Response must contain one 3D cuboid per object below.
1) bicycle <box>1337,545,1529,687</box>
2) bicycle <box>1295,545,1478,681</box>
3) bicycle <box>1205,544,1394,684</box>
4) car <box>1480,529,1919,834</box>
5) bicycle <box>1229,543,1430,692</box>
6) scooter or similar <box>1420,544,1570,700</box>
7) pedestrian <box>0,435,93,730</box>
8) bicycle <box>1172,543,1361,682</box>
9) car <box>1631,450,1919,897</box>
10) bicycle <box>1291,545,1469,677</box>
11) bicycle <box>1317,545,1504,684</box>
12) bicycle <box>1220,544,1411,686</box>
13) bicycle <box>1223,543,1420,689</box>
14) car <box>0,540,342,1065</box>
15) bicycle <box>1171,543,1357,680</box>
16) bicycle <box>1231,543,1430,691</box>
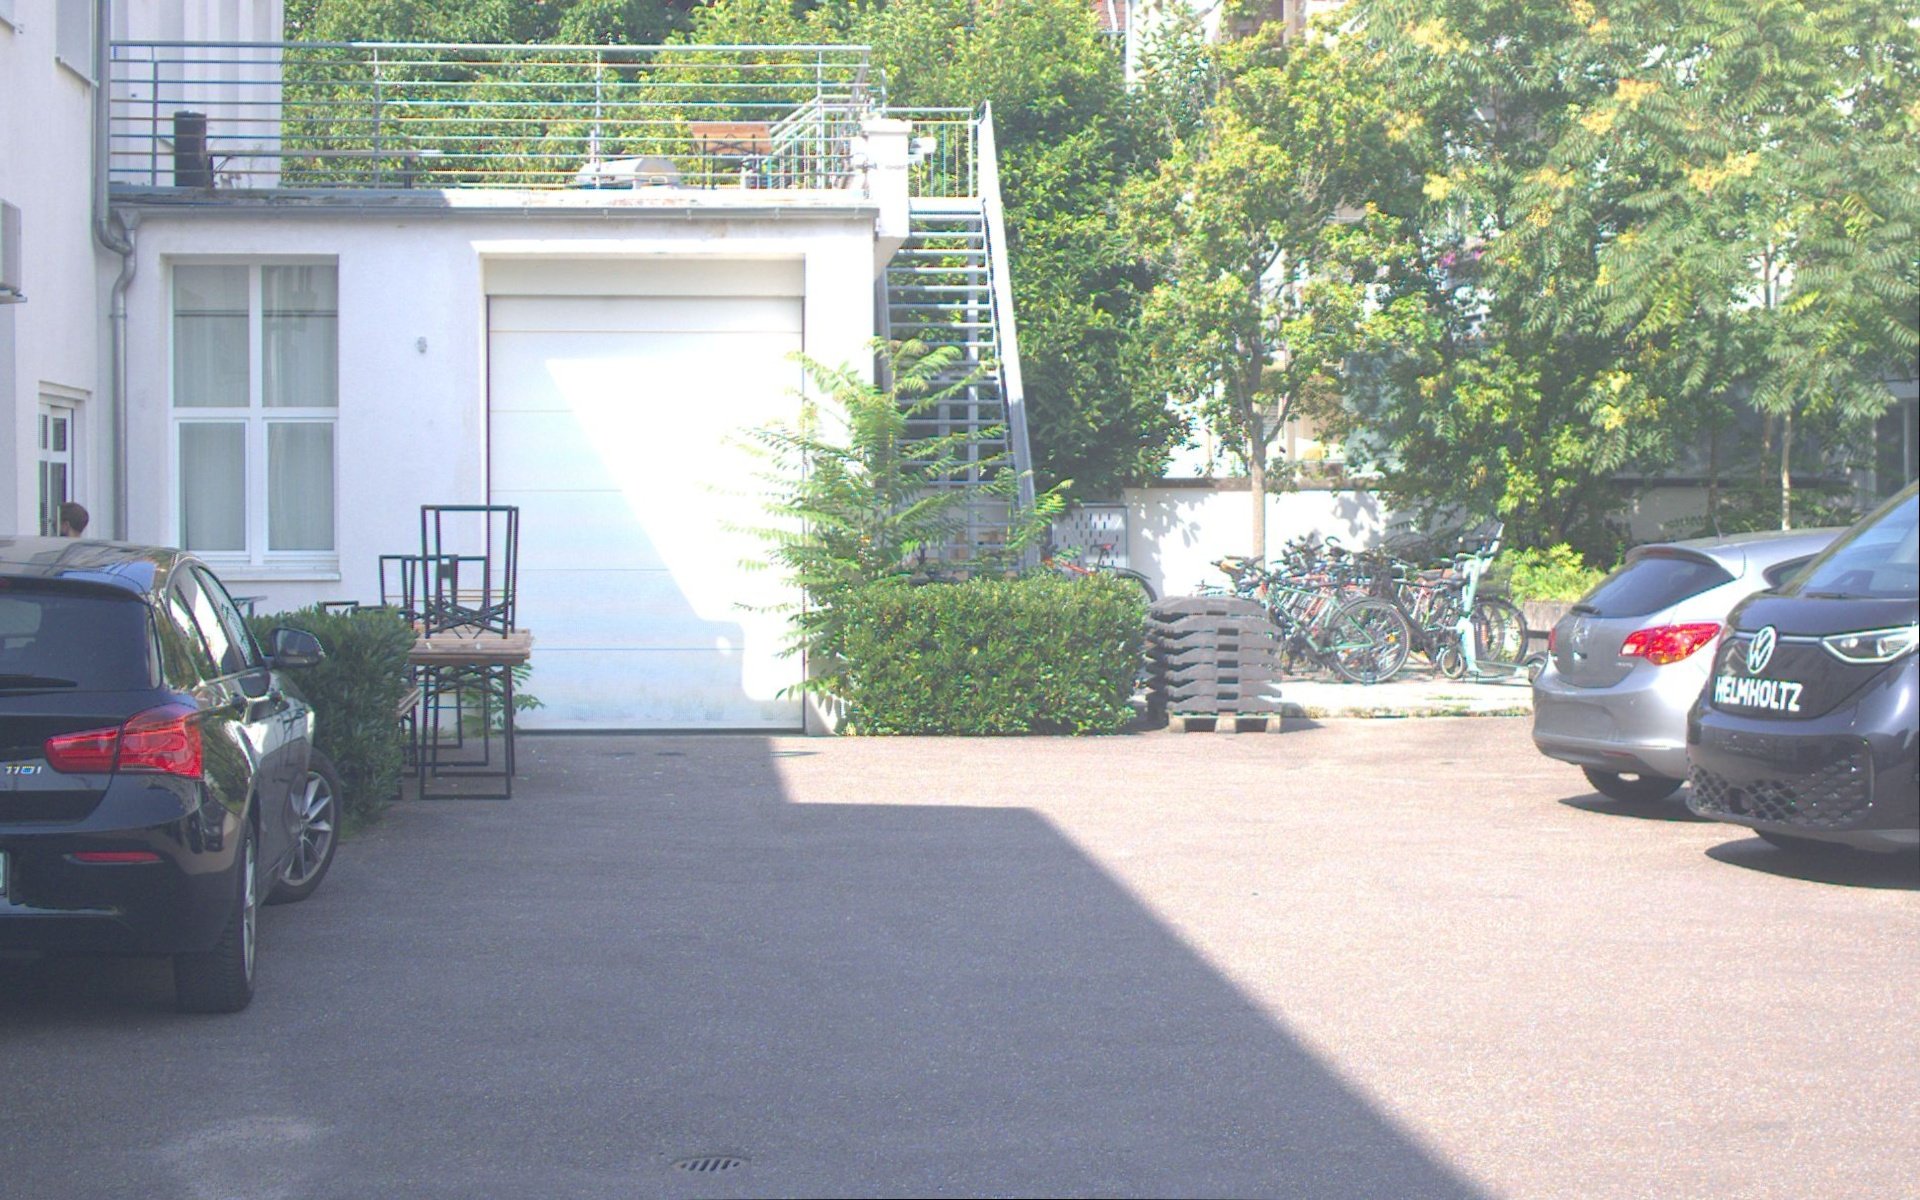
[{"bbox_3d":[4.081,0.138,29.653,1.624,1.210,0.327,0,1,11],"label":"bicycle"},{"bbox_3d":[3.857,0.114,31.079,1.623,1.210,0.424,0,1,9],"label":"bicycle"},{"bbox_3d":[2.967,0.121,30.047,1.623,1.210,0.327,0,1,9],"label":"bicycle"},{"bbox_3d":[4.907,0.377,18.025,3.931,1.477,1.775,0,1,-13],"label":"car"},{"bbox_3d":[3.075,0.144,28.620,1.623,1.210,0.327,-1,1,-2],"label":"bicycle"},{"bbox_3d":[4.422,0.166,28.461,0.378,1.256,1.348,-2,2,-36],"label":"scooter or similar"},{"bbox_3d":[-6.585,-0.129,23.902,0.913,2.007,0.935,1,1,-4],"label":"pedestrian"},{"bbox_3d":[2.731,0.109,30.710,1.623,1.210,0.424,-1,1,-4],"label":"bicycle"},{"bbox_3d":[5.448,0.267,15.166,4.499,1.788,1.884,0,1,-13],"label":"car"},{"bbox_3d":[3.926,0.099,32.111,1.623,1.210,0.424,0,1,9],"label":"bicycle"},{"bbox_3d":[3.998,0.124,30.510,1.623,1.210,0.424,0,1,9],"label":"bicycle"},{"bbox_3d":[3.071,0.127,29.688,1.623,1.210,0.327,0,1,6],"label":"bicycle"},{"bbox_3d":[3.068,0.134,29.236,1.623,1.210,0.327,-1,1,-2],"label":"bicycle"},{"bbox_3d":[-3.079,0.529,11.471,1.688,1.454,3.924,0,1,-6],"label":"car"},{"bbox_3d":[2.770,0.099,31.348,1.622,1.210,0.424,-1,1,-9],"label":"bicycle"},{"bbox_3d":[3.118,0.140,28.945,1.623,1.210,0.327,-1,1,-2],"label":"bicycle"}]
